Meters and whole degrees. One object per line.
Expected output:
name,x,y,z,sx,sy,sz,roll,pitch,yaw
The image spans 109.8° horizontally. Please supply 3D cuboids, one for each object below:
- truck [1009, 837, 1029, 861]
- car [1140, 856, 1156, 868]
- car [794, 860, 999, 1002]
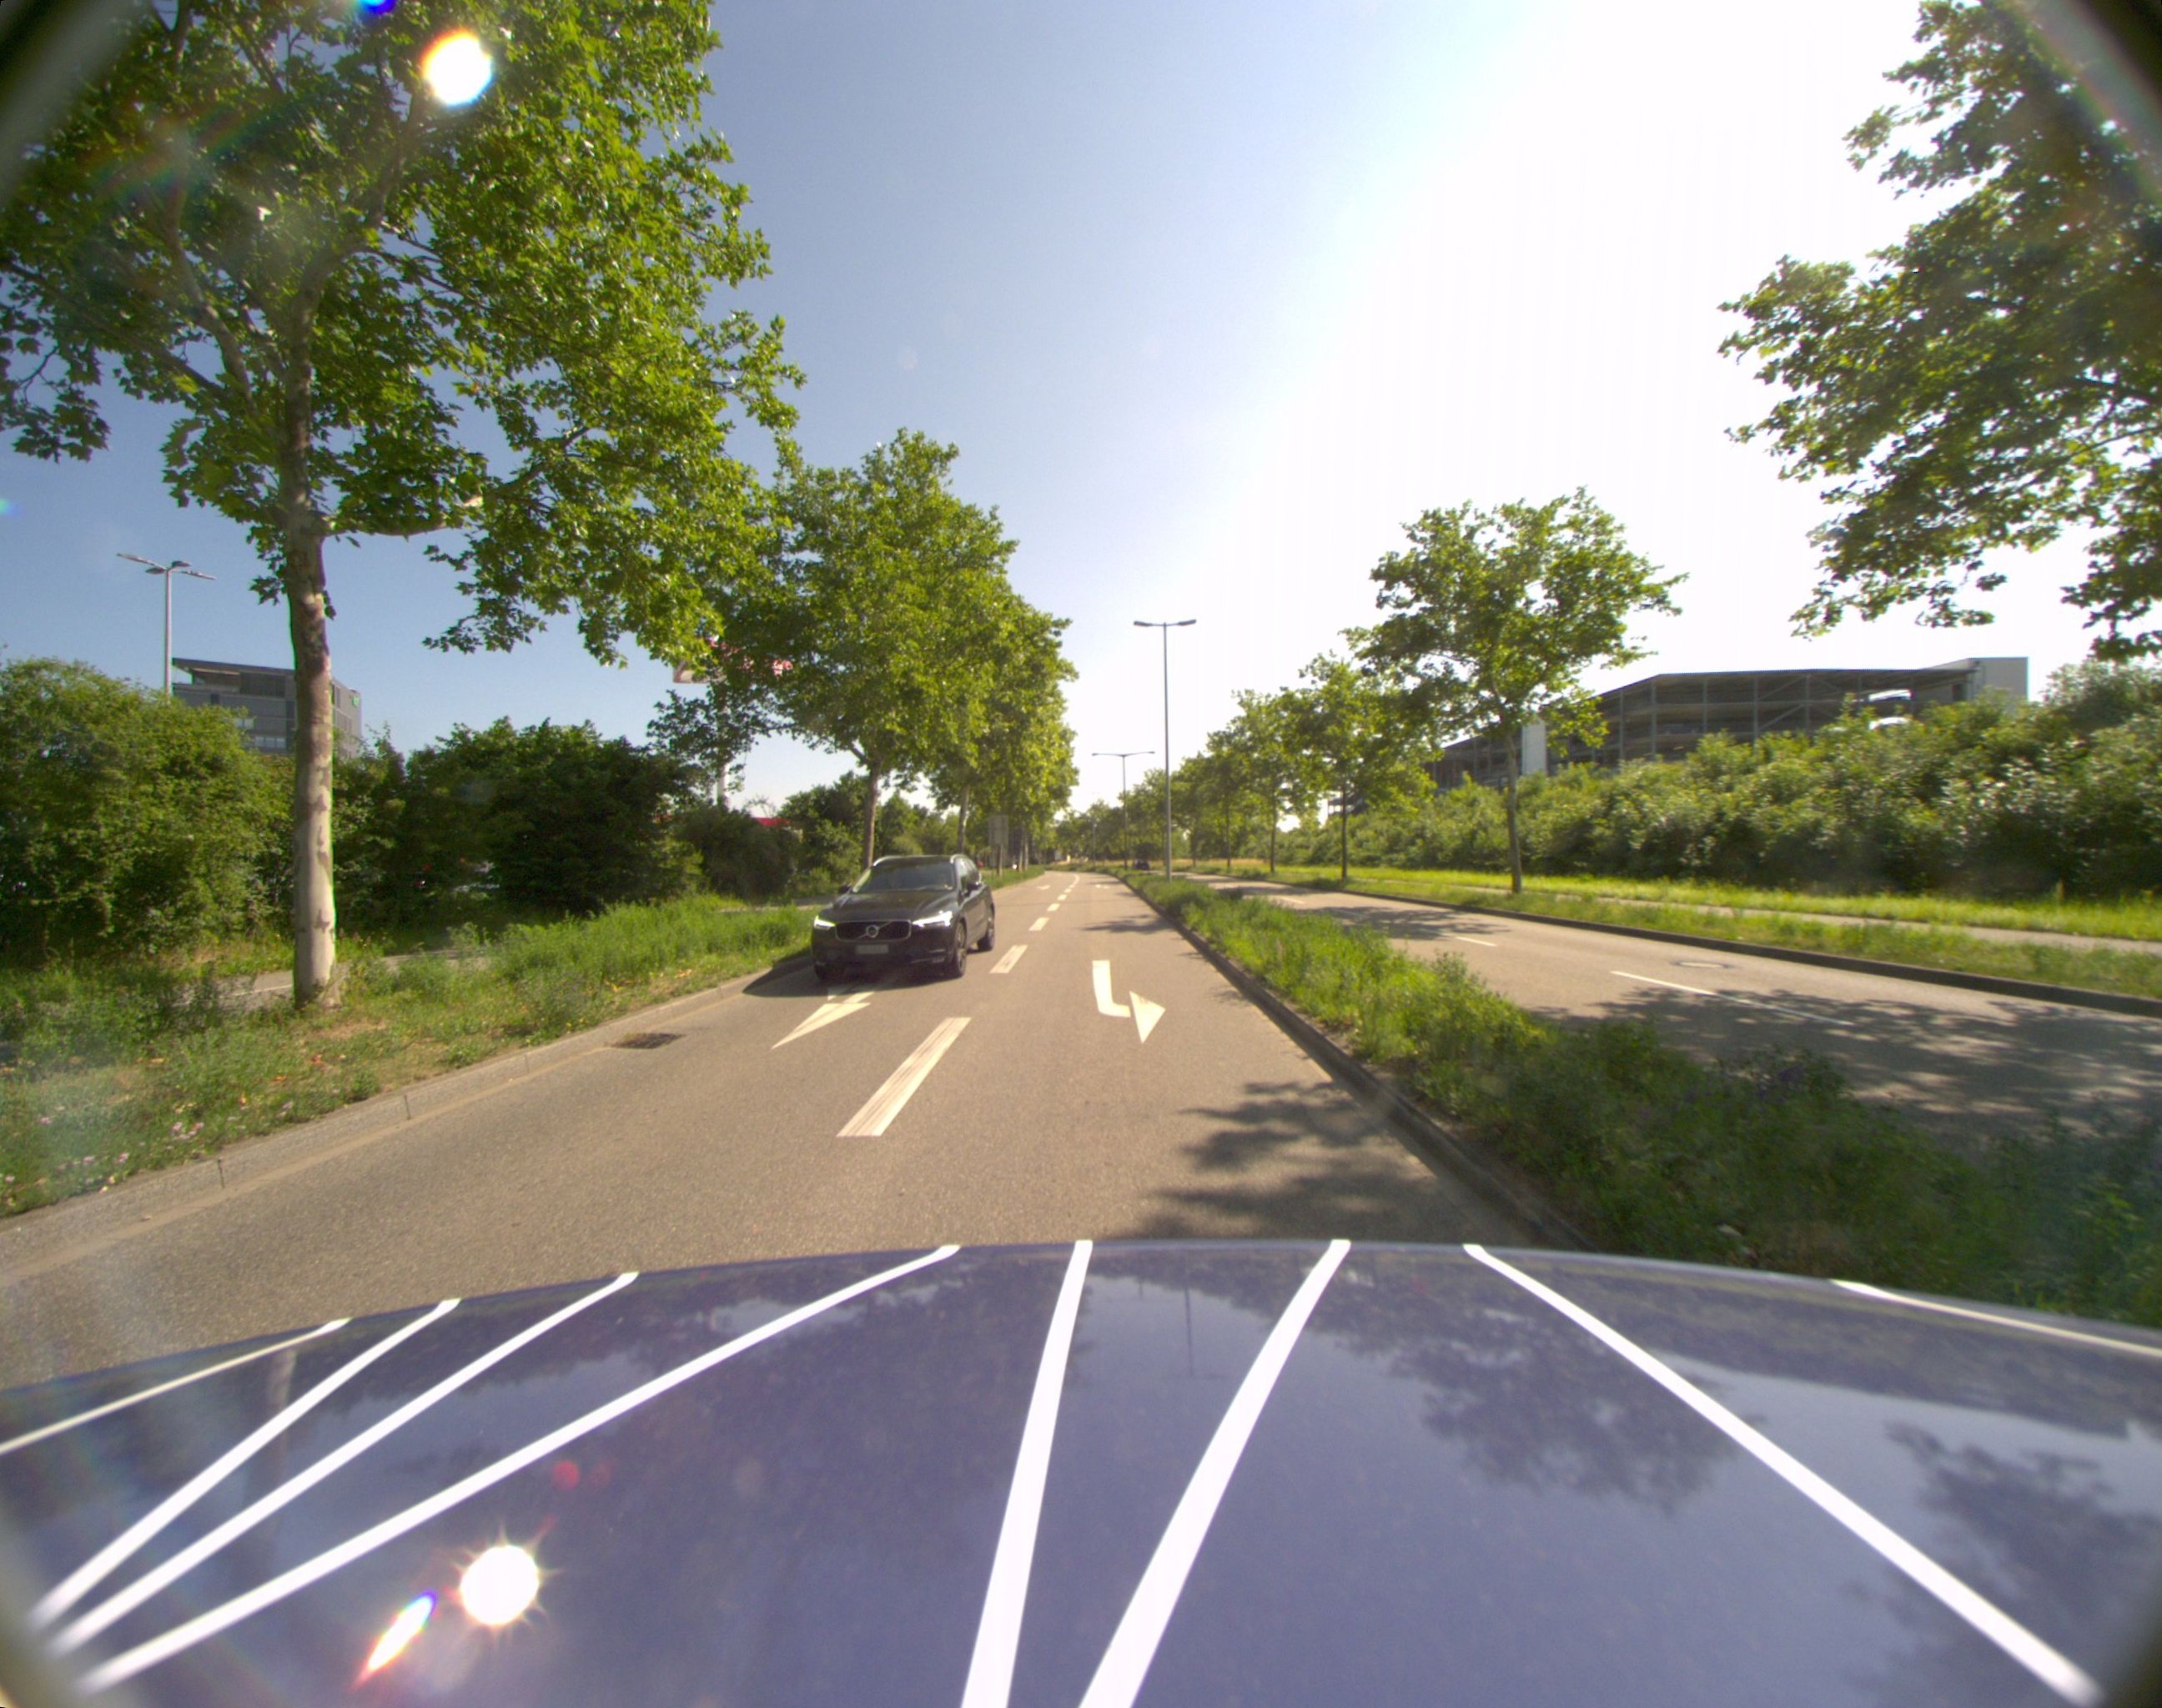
truck,-10.455,-0.901,127.887,2.744,3.872,5.845,-2,0,-11
car,8.347,1.009,95.057,1.574,1.461,3.927,-1,0,0
car,-2.463,0.941,11.418,1.924,1.613,4.564,-1,0,0
